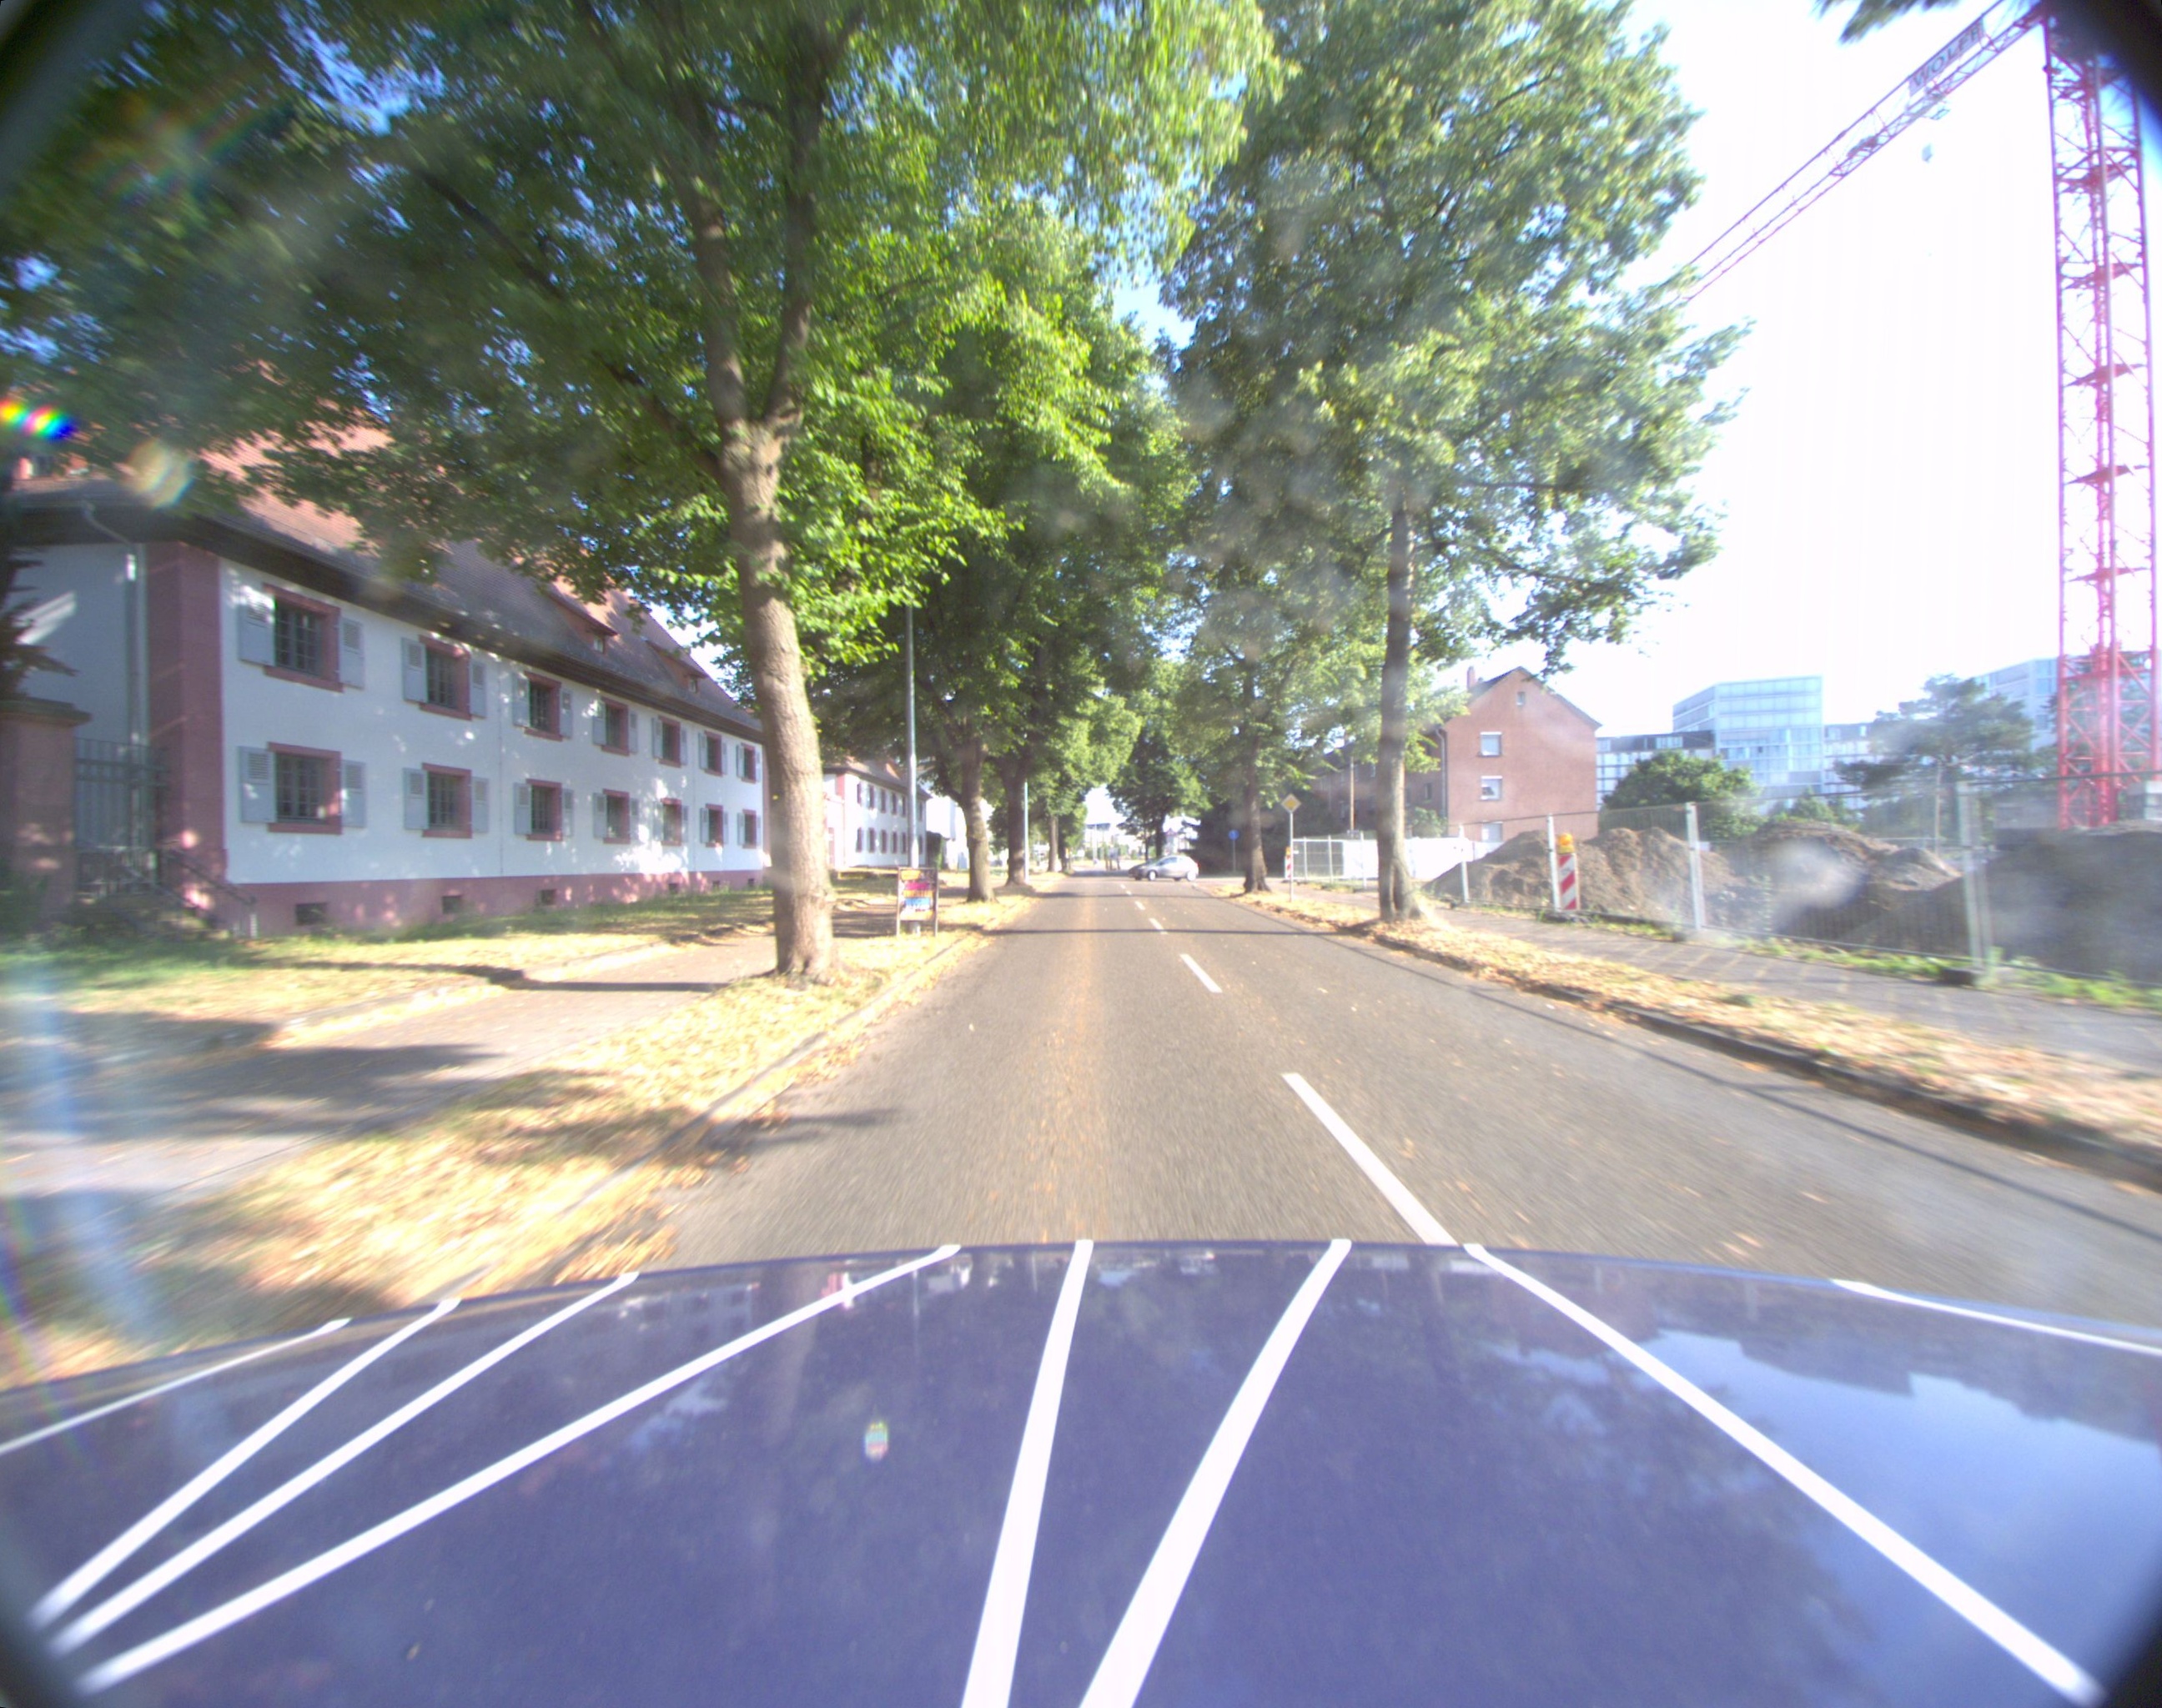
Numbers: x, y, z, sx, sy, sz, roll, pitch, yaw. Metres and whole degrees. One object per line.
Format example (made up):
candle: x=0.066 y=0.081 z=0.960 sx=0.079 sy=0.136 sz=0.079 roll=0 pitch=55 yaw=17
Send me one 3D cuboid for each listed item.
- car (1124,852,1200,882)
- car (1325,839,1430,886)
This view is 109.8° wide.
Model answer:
car: x=4.564 y=0.739 z=42.718 sx=3.860 sy=1.464 sz=1.648 roll=-3 pitch=0 yaw=-22
car: x=17.472 y=0.500 z=45.056 sx=5.316 sy=2.454 sz=2.170 roll=3 pitch=1 yaw=8
